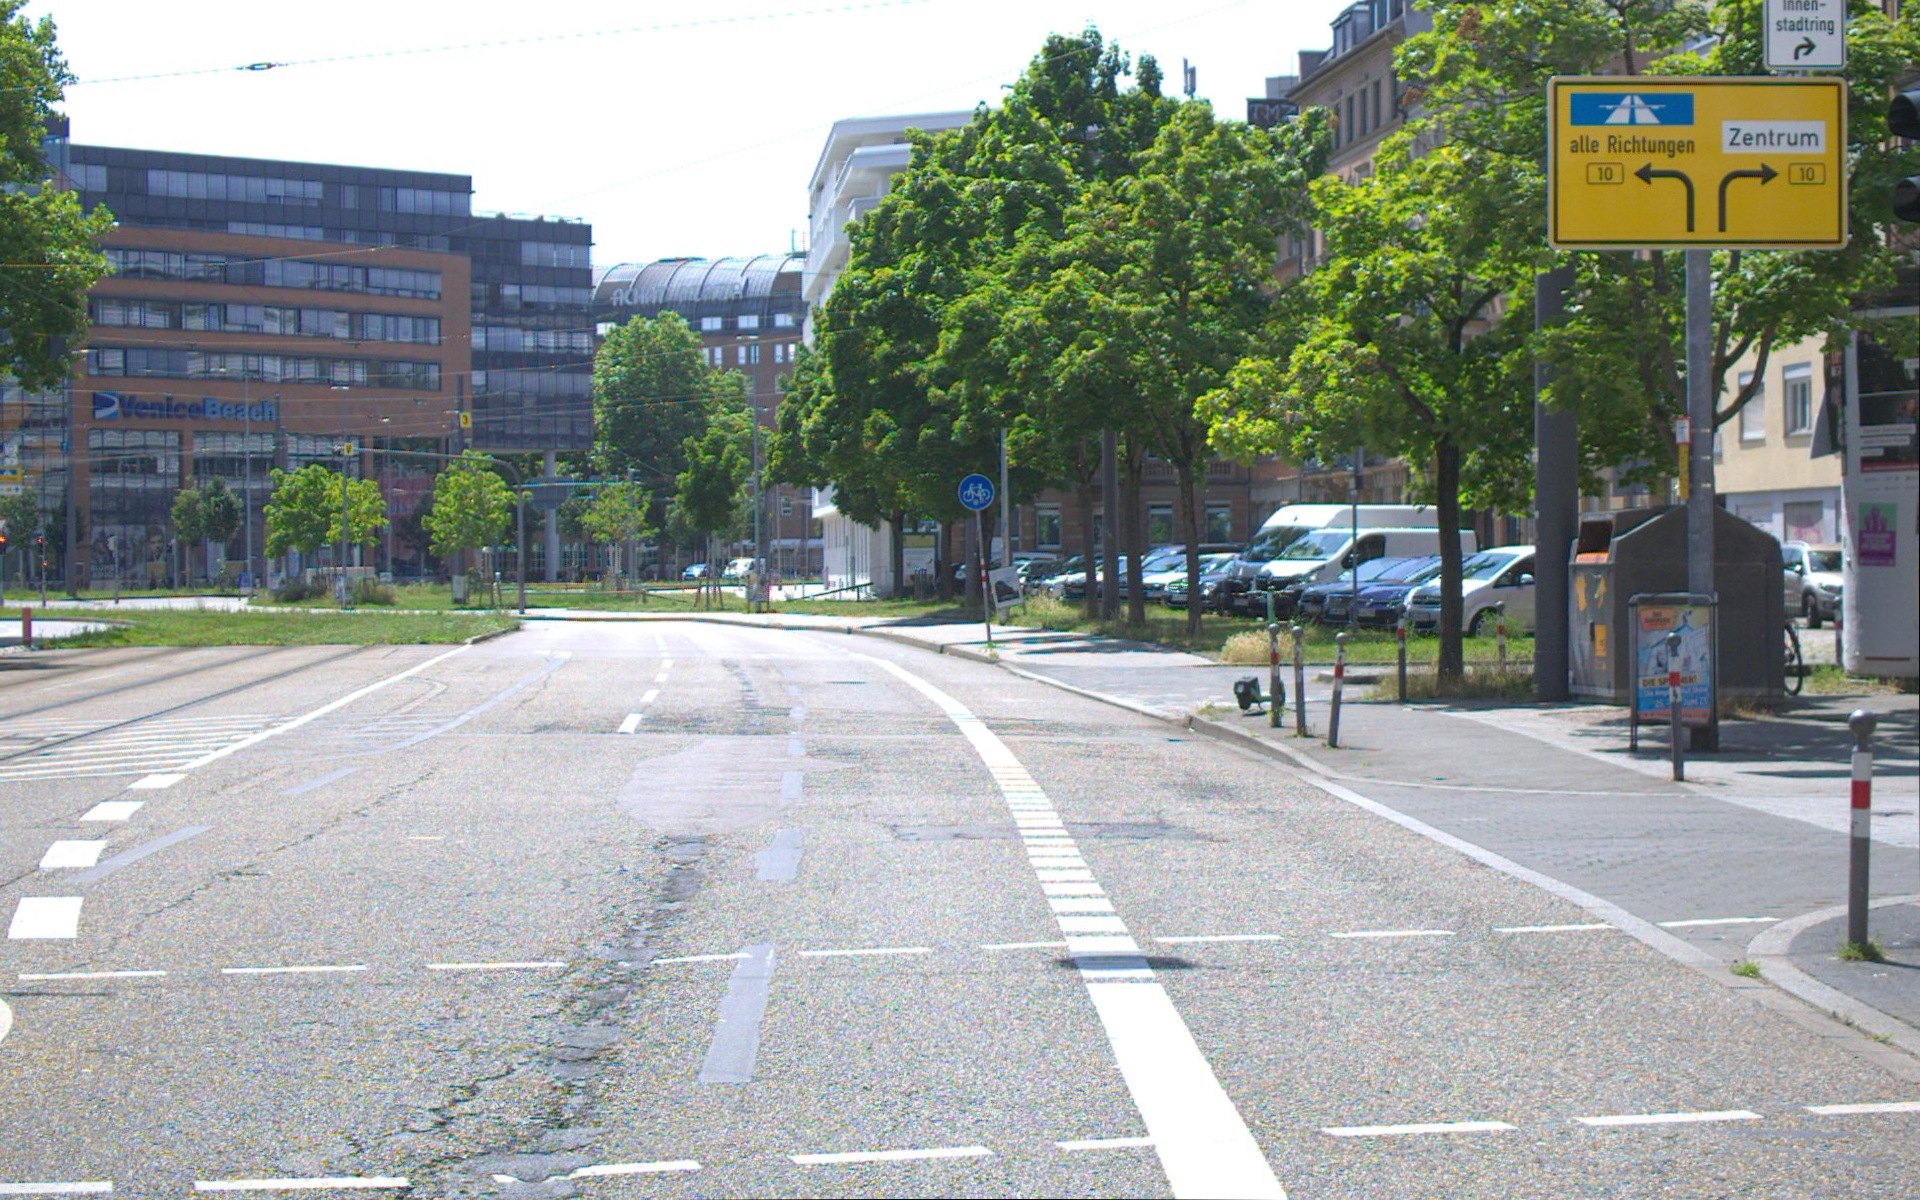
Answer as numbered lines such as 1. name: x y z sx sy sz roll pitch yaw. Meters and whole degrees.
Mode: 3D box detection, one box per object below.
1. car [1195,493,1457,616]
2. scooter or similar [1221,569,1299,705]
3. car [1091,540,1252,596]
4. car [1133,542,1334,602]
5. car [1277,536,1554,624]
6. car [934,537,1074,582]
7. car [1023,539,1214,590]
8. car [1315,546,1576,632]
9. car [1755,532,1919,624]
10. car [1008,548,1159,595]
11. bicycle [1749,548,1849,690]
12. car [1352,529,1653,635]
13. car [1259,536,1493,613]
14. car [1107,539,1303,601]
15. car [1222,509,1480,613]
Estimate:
1. car: 7.639 -0.916 71.341 5.536 2.452 2.237 0 1 -42
2. scooter or similar: 2.861 0.341 32.747 0.390 1.210 1.178 -3 2 19
3. car: 5.476 -0.819 88.937 3.988 1.395 1.712 0 1 -37
4. car: 6.306 -0.638 79.034 4.418 1.334 1.972 0 1 -37
5. car: 8.108 -0.352 61.102 4.617 1.492 1.965 0 1 -29
6. car: 1.615 -1.480 125.750 4.858 1.595 1.836 0 1 -32
7. car: 4.349 -0.975 94.119 4.771 1.309 2.150 1 1 -27
8. car: 8.181 -0.184 57.919 3.986 1.395 1.824 1 1 -26
9. car: 16.672 -0.424 65.214 1.818 1.678 4.001 1 1 -7
10. car: 3.660 -0.840 101.576 3.986 1.309 1.972 1 1 -27
11. bicycle: 7.800 0.167 31.994 0.514 1.285 1.547 1 0 -1
12. car: 8.688 -0.289 55.014 4.397 1.626 2.000 1 1 -27
13. car: 7.795 -0.471 64.353 3.986 1.382 1.824 1 1 -26
14. car: 5.904 -0.719 82.479 4.679 1.422 1.971 0 1 -42
15. car: 7.731 -0.755 67.829 4.833 1.966 2.076 0 1 -34
